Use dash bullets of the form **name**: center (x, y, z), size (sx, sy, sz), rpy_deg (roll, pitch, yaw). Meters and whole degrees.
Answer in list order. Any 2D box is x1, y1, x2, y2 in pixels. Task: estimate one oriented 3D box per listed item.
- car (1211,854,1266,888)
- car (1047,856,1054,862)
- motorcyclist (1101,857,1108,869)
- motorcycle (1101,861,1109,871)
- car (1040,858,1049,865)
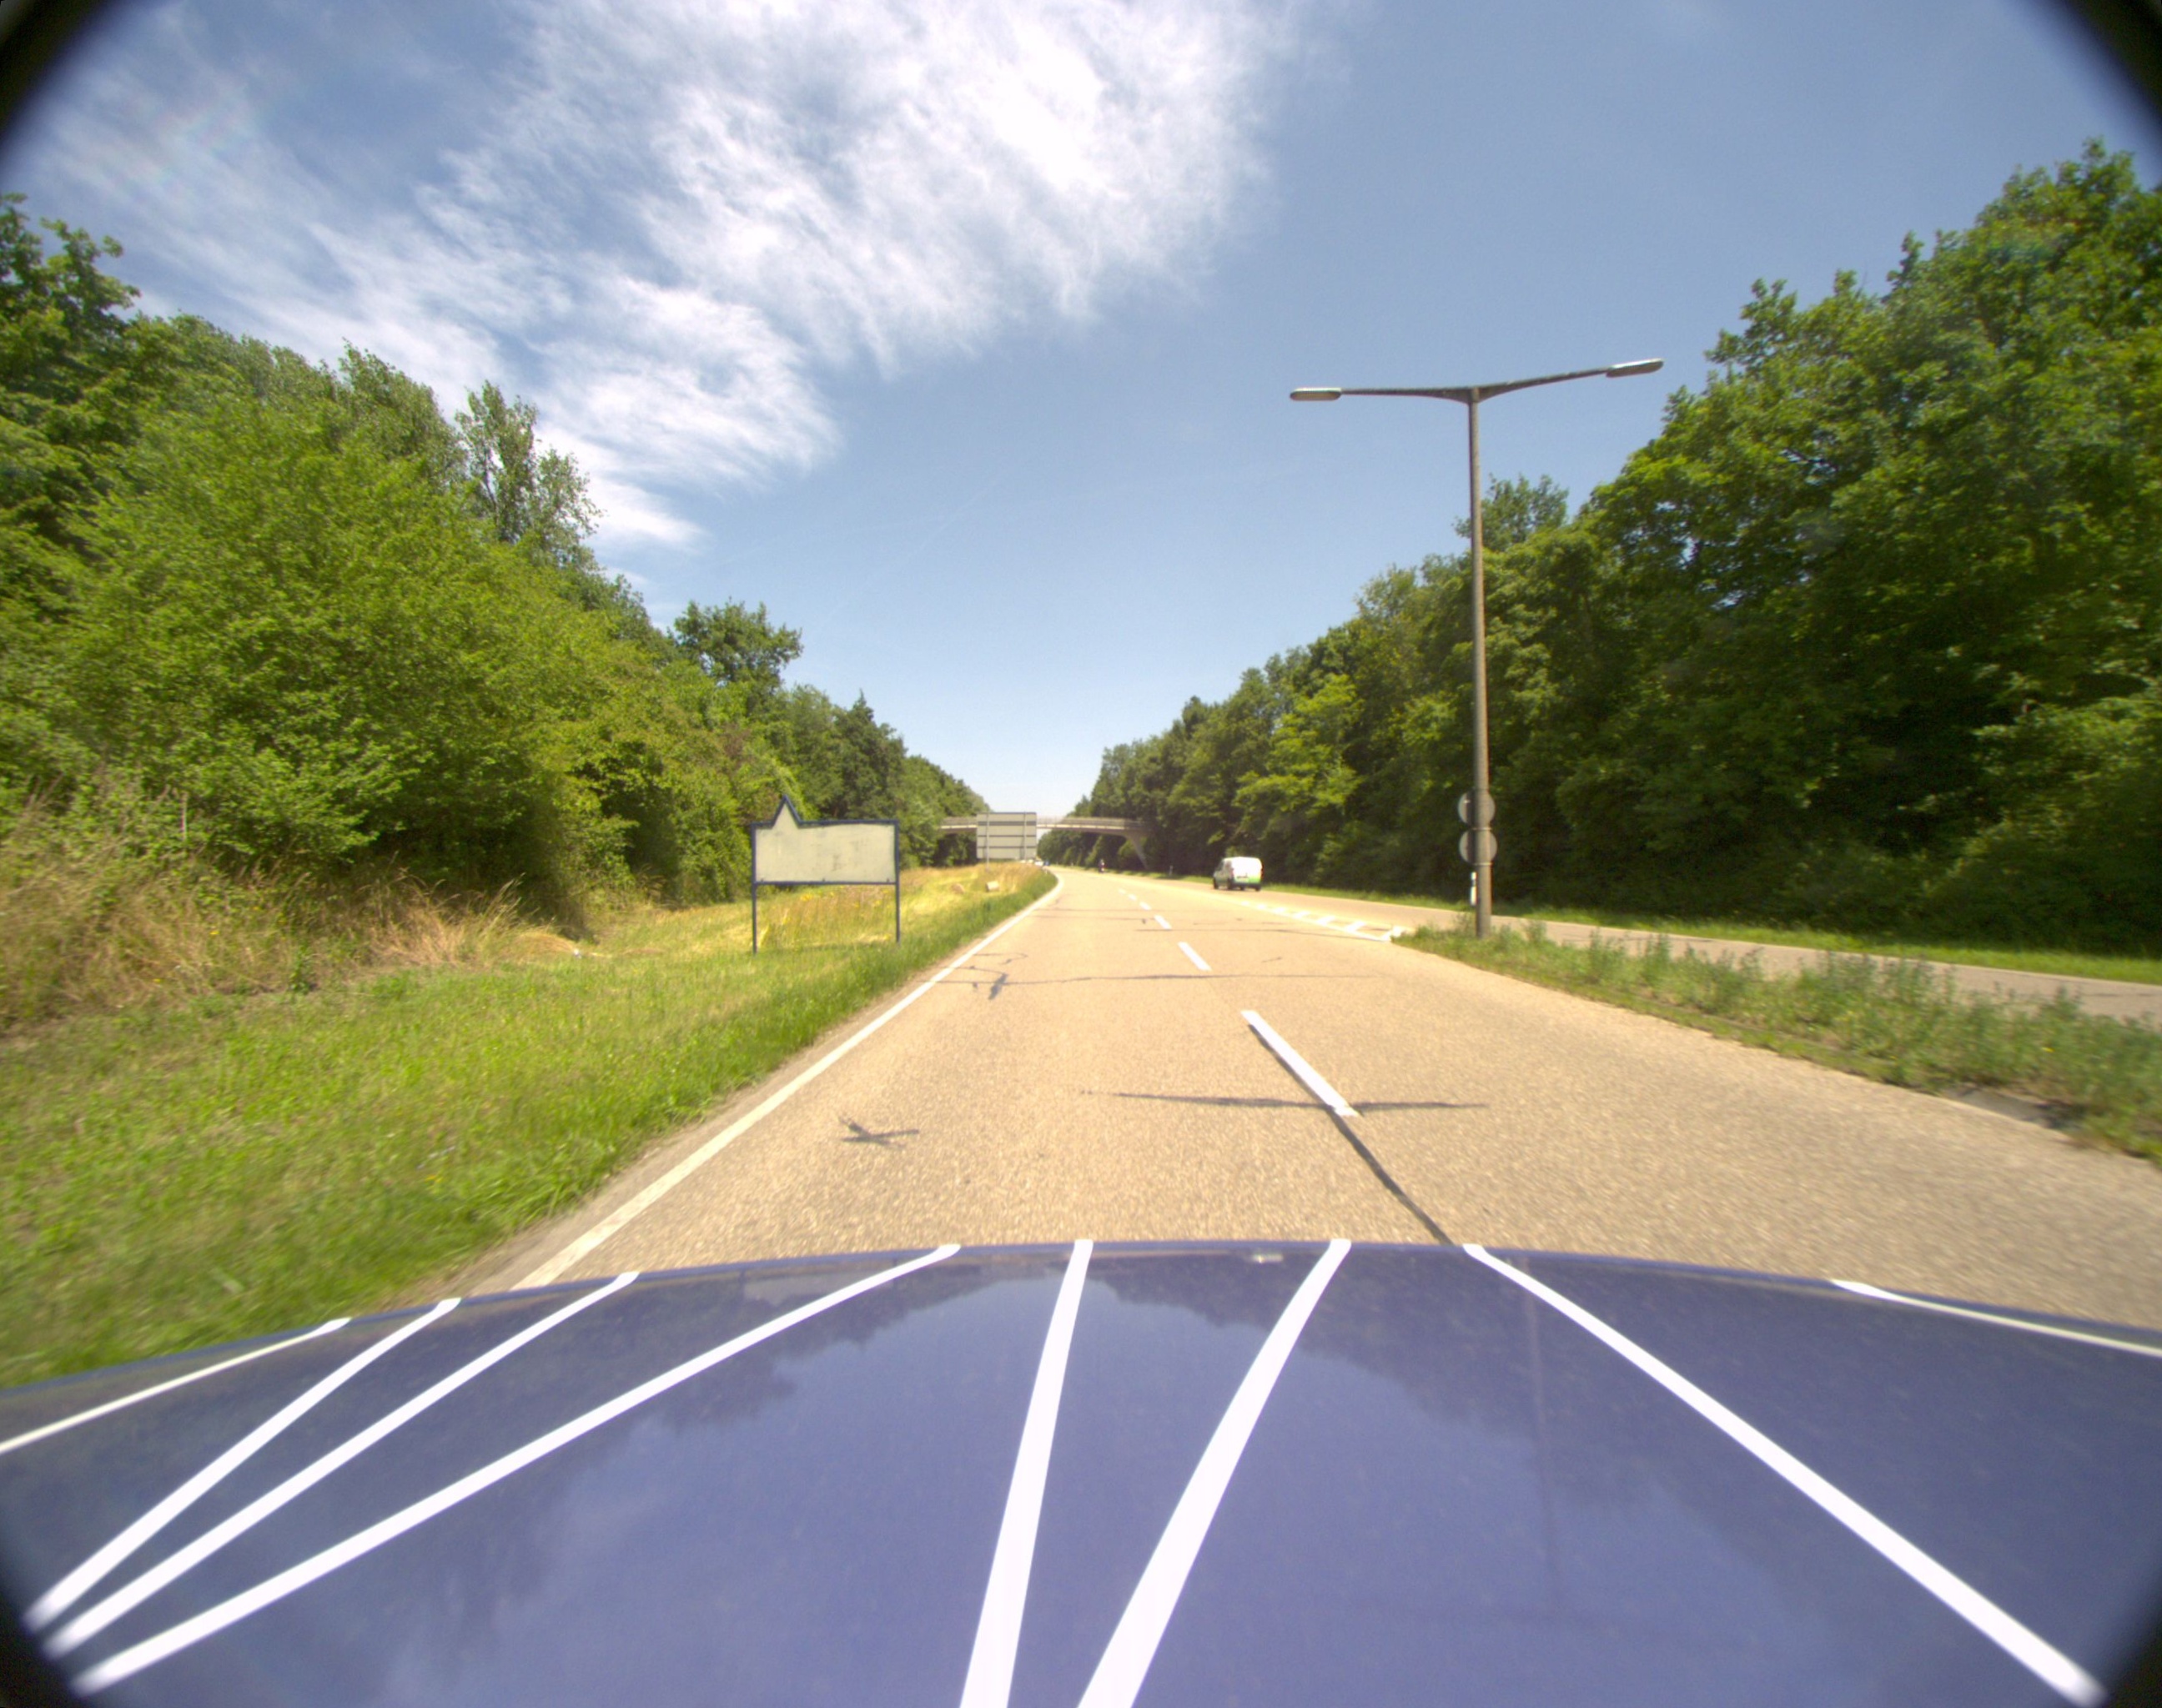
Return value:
- **car**: center (8.338, 0.886, 40.570), size (1.737, 1.678, 4.093), rpy_deg (2, 0, -6)
- **car**: center (-8.544, 1.332, 214.700), size (1.829, 1.580, 4.417), rpy_deg (2, 0, -5)
- **motorcyclist**: center (2.892, 1.073, 93.559), size (0.672, 1.467, 0.813), rpy_deg (0, 1, -8)
- **motorcycle**: center (2.952, 1.457, 93.368), size (0.672, 1.167, 2.230), rpy_deg (0, 0, -7)
- **car**: center (-8.376, 1.704, 173.255), size (1.866, 1.747, 3.997), rpy_deg (0, 0, -6)
